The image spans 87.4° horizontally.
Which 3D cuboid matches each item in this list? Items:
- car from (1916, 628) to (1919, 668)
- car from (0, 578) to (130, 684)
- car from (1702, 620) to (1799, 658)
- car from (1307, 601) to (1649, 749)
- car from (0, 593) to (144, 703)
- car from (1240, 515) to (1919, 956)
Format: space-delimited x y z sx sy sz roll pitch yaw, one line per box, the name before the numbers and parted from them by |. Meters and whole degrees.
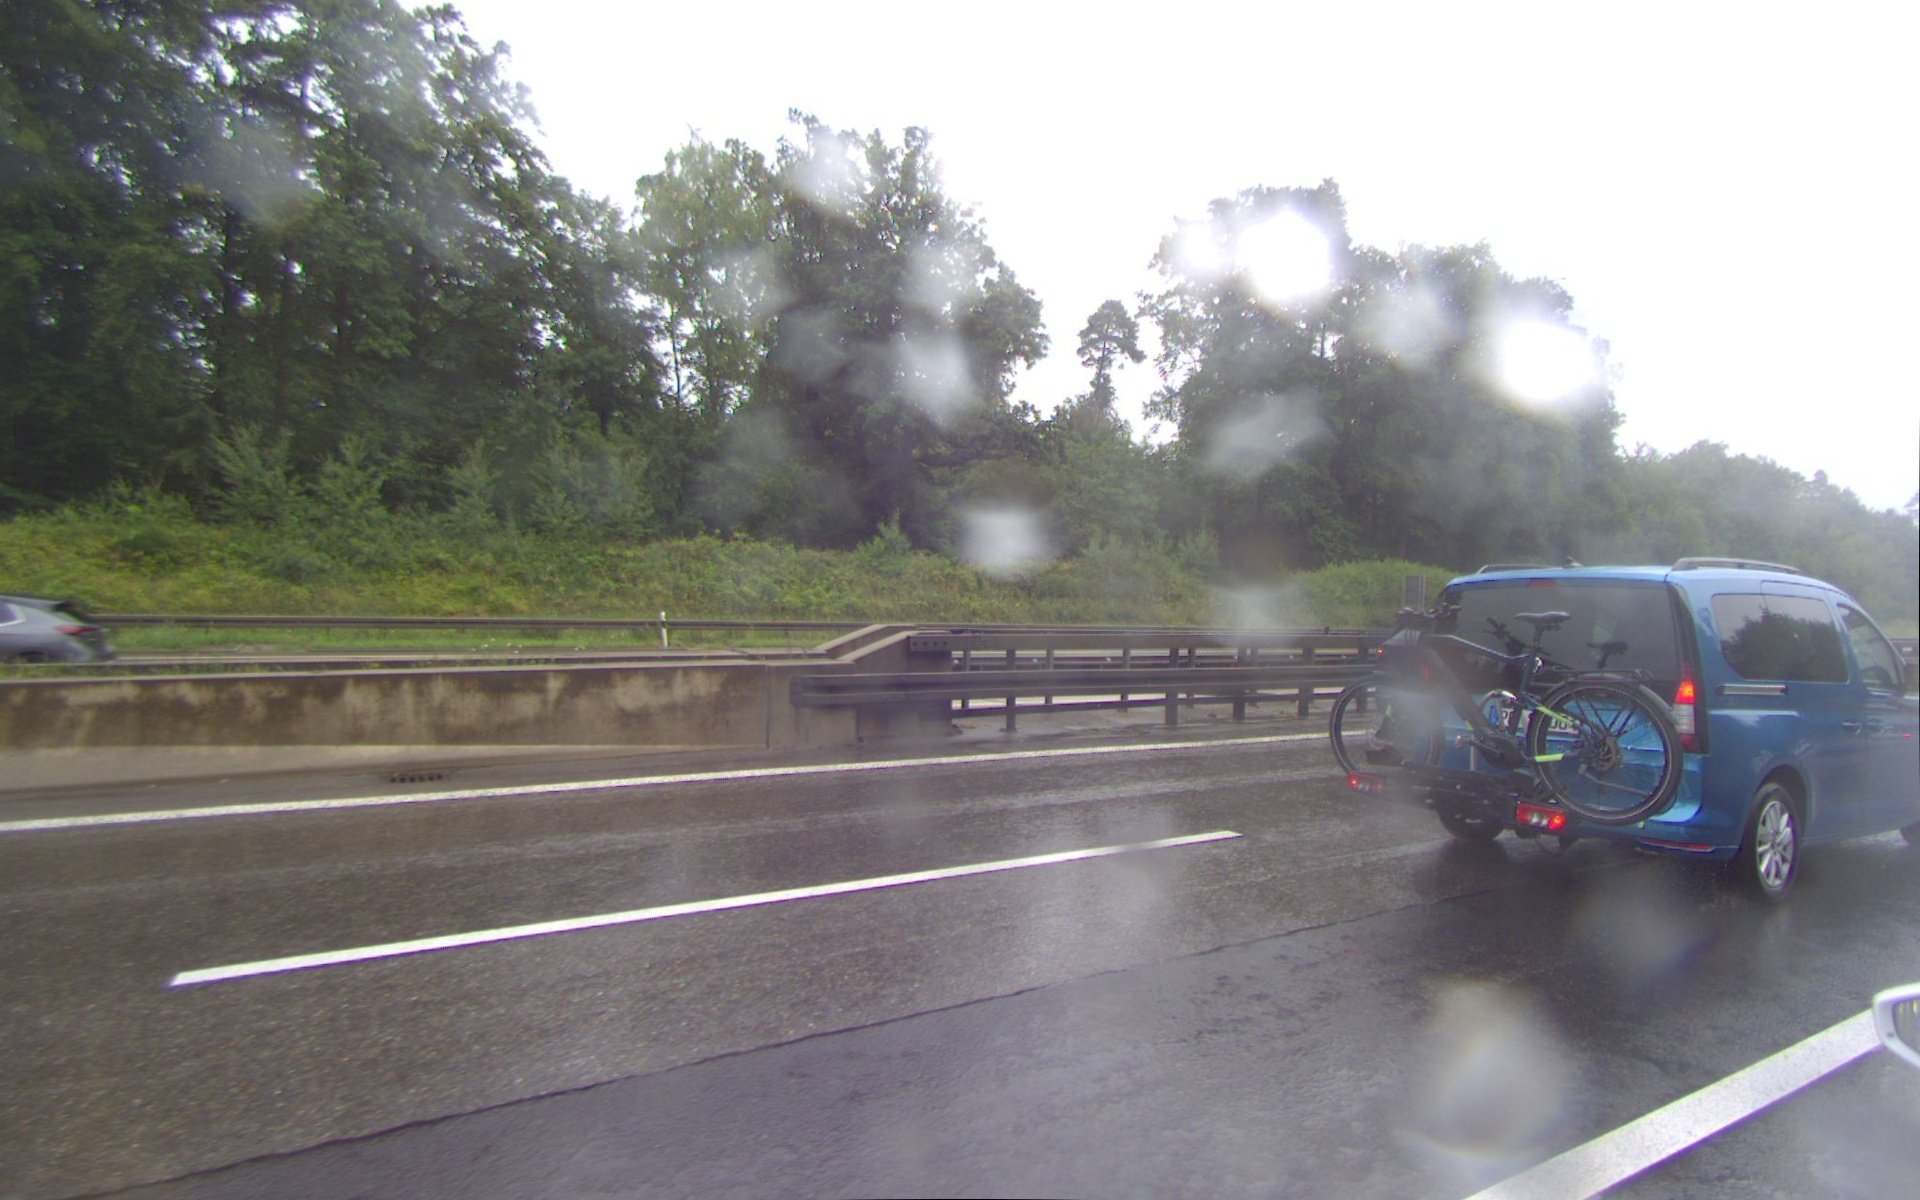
car | 32.147 1.461 31.342 4.699 1.525 2.080 1 4 -31
car | -13.540 0.380 13.310 3.633 1.363 1.793 1 0 -30
car | 34.089 1.645 43.285 4.556 1.517 1.826 1 0 -31
car | 6.762 0.870 13.018 4.413 1.613 1.837 1 0 -30
car | -13.546 0.610 13.395 3.908 1.409 1.707 1 0 -32
car | 4.498 0.631 6.616 4.954 1.937 2.260 1 0 -29
